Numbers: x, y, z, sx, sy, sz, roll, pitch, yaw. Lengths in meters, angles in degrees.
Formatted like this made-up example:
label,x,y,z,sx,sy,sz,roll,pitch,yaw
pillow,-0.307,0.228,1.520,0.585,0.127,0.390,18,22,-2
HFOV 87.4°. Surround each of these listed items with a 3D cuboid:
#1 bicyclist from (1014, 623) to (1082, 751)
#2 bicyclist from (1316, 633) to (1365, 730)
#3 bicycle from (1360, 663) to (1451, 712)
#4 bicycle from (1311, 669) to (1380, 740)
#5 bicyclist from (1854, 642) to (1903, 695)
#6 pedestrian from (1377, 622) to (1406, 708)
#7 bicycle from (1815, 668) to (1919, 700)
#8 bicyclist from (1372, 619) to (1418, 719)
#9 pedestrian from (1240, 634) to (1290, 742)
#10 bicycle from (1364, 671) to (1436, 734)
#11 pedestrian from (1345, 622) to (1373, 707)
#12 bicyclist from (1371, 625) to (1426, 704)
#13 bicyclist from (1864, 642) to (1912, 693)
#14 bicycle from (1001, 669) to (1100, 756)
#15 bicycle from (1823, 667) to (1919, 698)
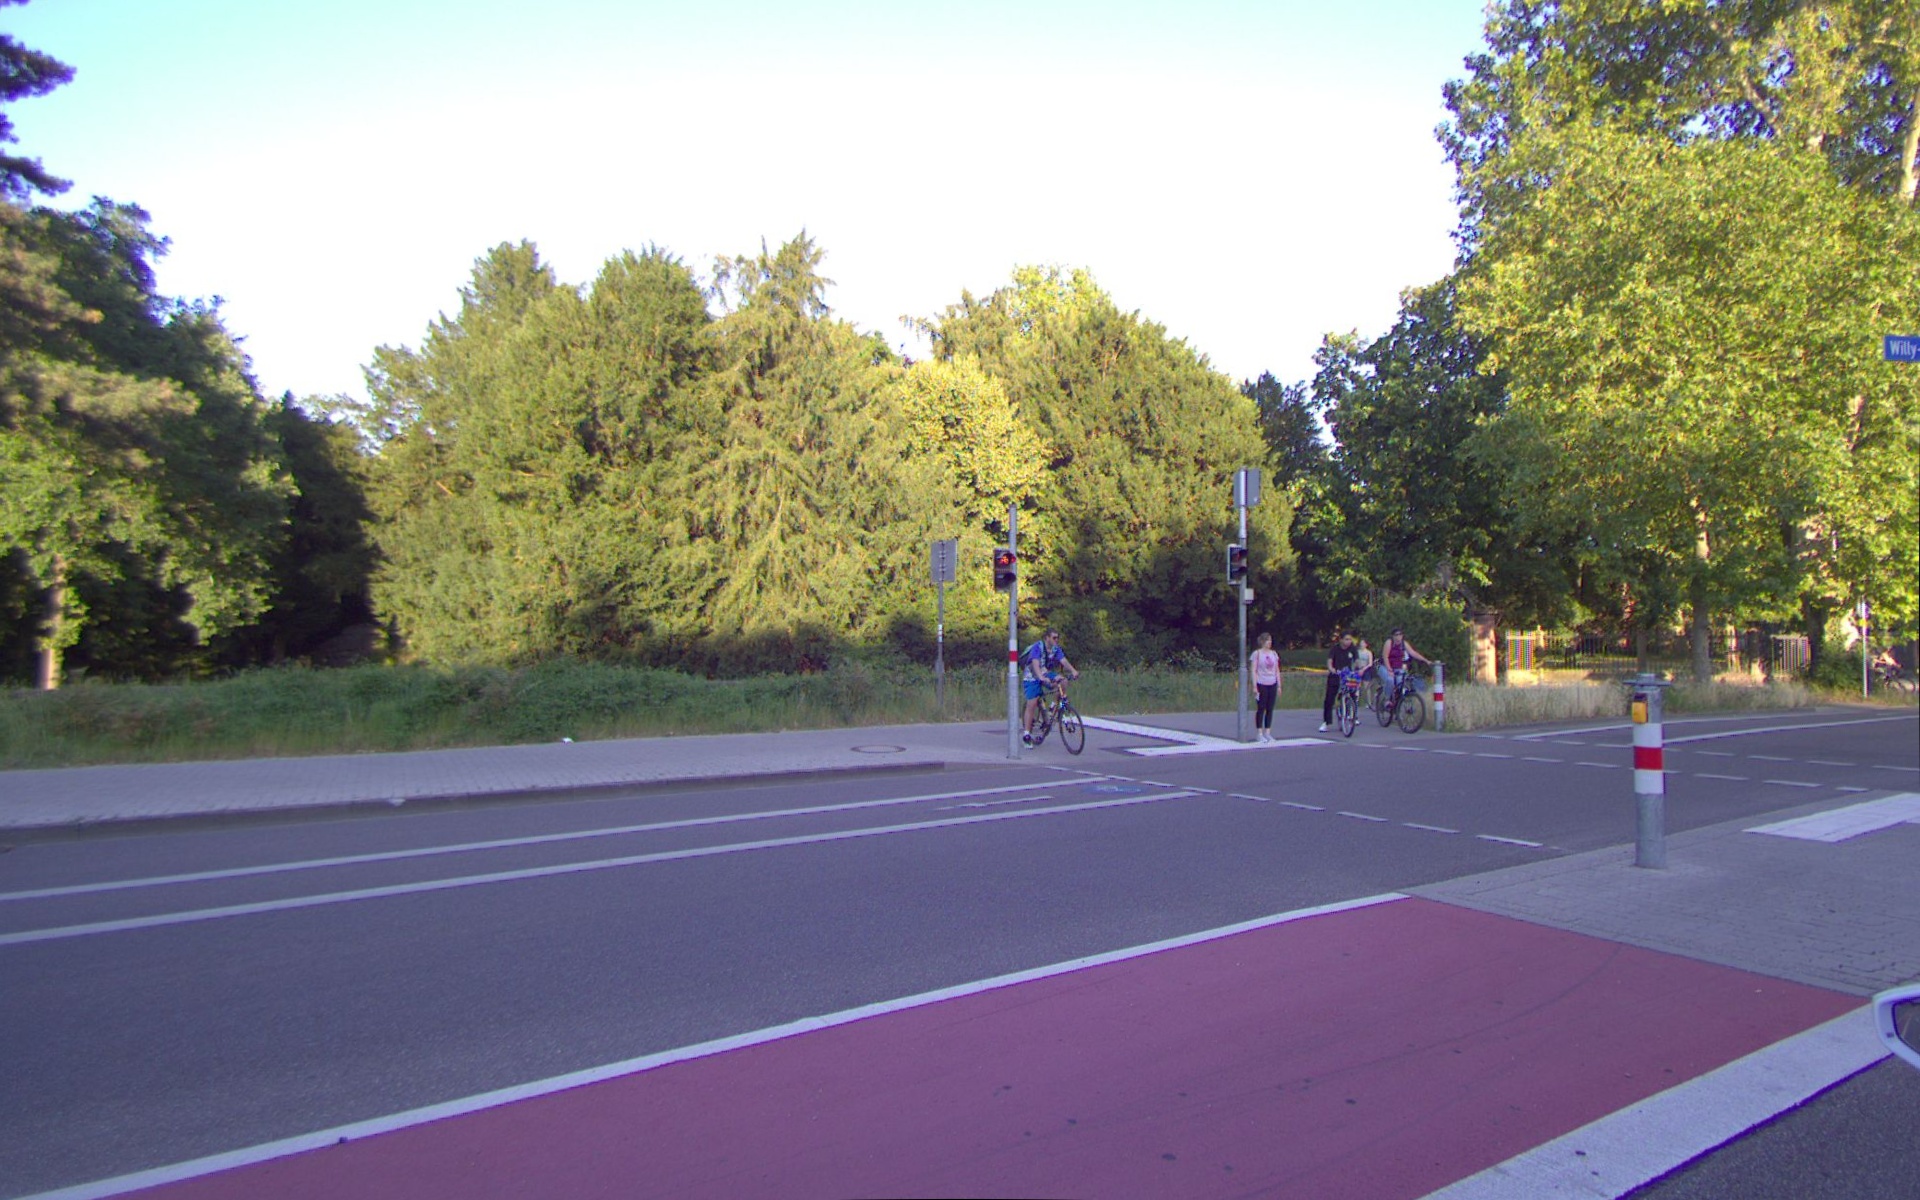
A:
label,x,y,z,sx,sy,sz,roll,pitch,yaw
bicyclist,1.308,1.272,14.952,0.730,1.848,0.705,2,-3,-34
bicyclist,6.682,1.411,17.649,0.618,1.671,0.640,0,-2,1
bicycle,10.261,1.993,23.110,2.270,1.046,0.736,2,-1,-30
bicycle,6.669,1.781,17.441,0.620,1.126,1.569,0,-2,1
bicyclist,29.302,2.178,32.061,0.743,1.652,0.954,1,-2,-29
pedestrian,10.496,1.568,24.448,0.584,2.040,0.642,0,-1,20
bicycle,29.175,2.681,32.302,0.765,0.936,2.420,1,-2,-29
bicyclist,8.027,1.262,18.557,0.564,1.803,0.640,0,-2,1
pedestrian,4.970,1.412,16.395,0.492,1.718,0.604,1,-2,-28
bicycle,8.016,1.849,18.366,0.568,1.043,1.772,0,-2,1
pedestrian,9.880,1.583,24.870,0.638,2.040,0.606,0,-1,22
bicyclist,10.046,1.463,23.024,0.934,1.751,0.751,1,-1,-32
bicyclist,30.688,2.226,33.231,0.743,1.652,0.954,1,-2,-29
bicycle,1.287,1.605,14.767,0.760,1.115,2.116,1,-2,-16
bicycle,30.499,2.734,33.549,0.765,0.936,2.420,1,-2,-29
